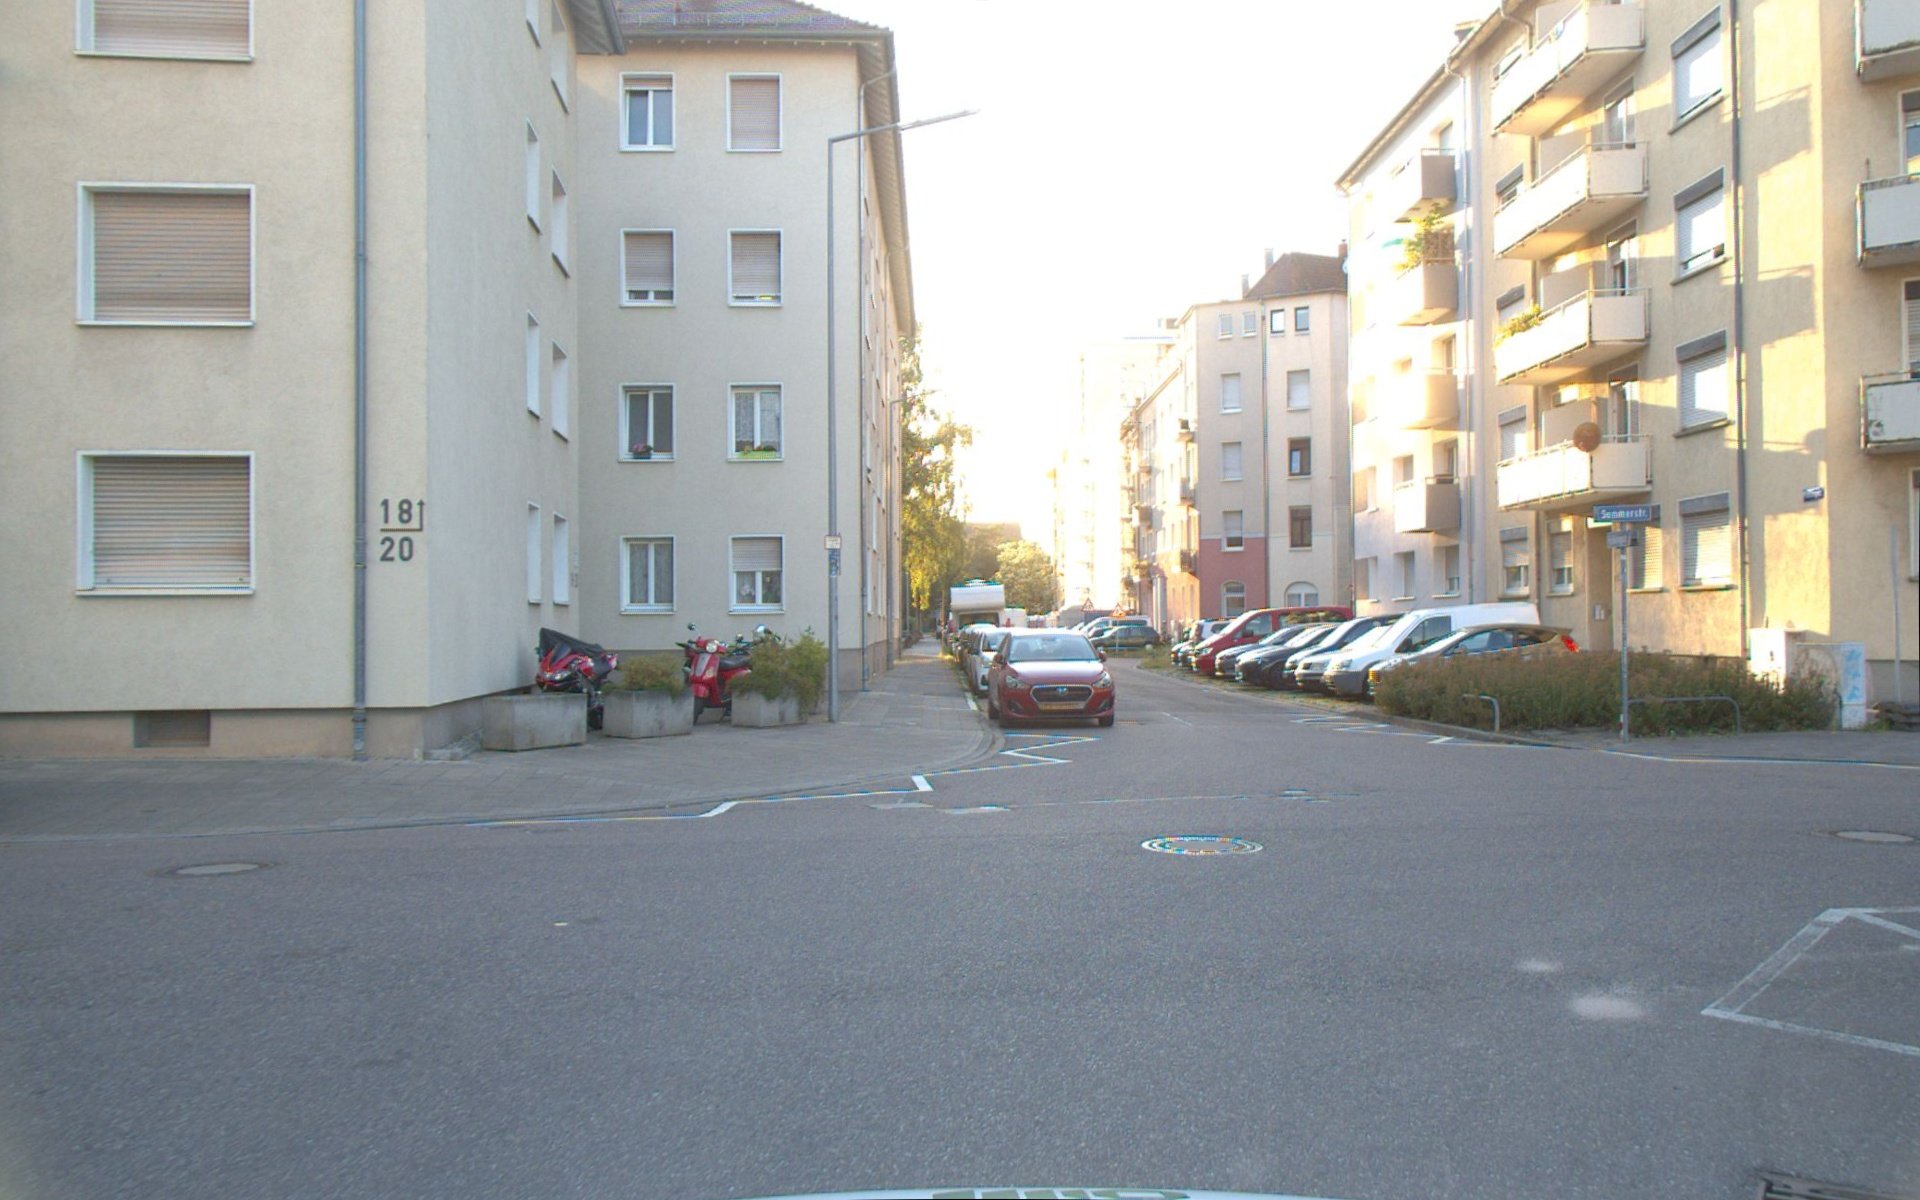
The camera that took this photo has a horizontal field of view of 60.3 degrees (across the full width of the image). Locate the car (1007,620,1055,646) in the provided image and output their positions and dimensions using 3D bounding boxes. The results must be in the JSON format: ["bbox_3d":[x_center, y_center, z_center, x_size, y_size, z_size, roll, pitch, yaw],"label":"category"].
[{"bbox_3d":[7.145,3.287,167.025,4.716,2.450,1.738,-2,-1,-2],"label":"car"}]

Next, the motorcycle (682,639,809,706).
[{"bbox_3d":[-3.688,1.251,28.478,2.078,1.125,0.561,-1,-1,11],"label":"motorcycle"}]

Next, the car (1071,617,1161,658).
[{"bbox_3d":[8.561,2.050,90.904,4.716,2.002,1.738,-2,-1,-2],"label":"car"}]

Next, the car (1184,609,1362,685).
[{"bbox_3d":[8.959,1.352,47.598,4.627,1.943,2.058,-3,-1,-2],"label":"car"}]

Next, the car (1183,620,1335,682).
[{"bbox_3d":[9.078,1.544,50.454,4.237,1.666,1.817,-3,-1,-2],"label":"car"}]

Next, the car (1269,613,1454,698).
[{"bbox_3d":[9.077,1.249,37.590,3.714,1.725,1.654,-3,-1,-1],"label":"car"}]

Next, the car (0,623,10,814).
[{"bbox_3d":[-10.176,1.105,13.278,3.929,1.645,1.879,-1,3,-6],"label":"car"}]

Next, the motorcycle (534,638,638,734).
[{"bbox_3d":[-5.327,1.200,23.663,0.708,1.287,2.082,-1,-1,10],"label":"motorcycle"}]

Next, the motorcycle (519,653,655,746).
[{"bbox_3d":[-4.797,1.262,21.420,0.708,1.098,2.081,-1,-1,20],"label":"motorcycle"}]

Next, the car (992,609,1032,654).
[{"bbox_3d":[3.320,2.009,106.572,2.086,2.765,4.830,-2,-1,-2],"label":"car"}]

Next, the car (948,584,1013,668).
[{"bbox_3d":[0.822,1.129,71.670,2.566,3.326,7.695,-2,-1,0],"label":"car"}]

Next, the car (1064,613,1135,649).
[{"bbox_3d":[8.172,1.815,97.120,3.909,2.049,1.998,-1,-1,-5],"label":"car"}]

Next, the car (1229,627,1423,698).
[{"bbox_3d":[8.722,1.486,39.626,4.221,1.475,1.654,-3,-1,-1],"label":"car"}]

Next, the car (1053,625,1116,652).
[{"bbox_3d":[8.109,2.512,107.803,3.906,1.557,1.658,-2,-1,-2],"label":"car"}]

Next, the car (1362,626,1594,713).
[{"bbox_3d":[9.649,1.286,31.011,3.793,1.518,1.741,-1,-1,-1],"label":"car"}]

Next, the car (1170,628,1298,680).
[{"bbox_3d":[8.741,1.712,52.930,3.735,1.453,1.634,-3,-1,-2],"label":"car"}]

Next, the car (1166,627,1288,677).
[{"bbox_3d":[8.922,1.738,55.453,3.735,1.453,1.634,-3,-1,-2],"label":"car"}]

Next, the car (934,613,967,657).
[{"bbox_3d":[-0.609,2.078,98.862,1.734,2.488,5.142,-2,-1,-2],"label":"car"}]

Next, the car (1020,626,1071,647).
[{"bbox_3d":[6.864,2.912,133.034,3.906,1.557,1.658,-2,-1,-2],"label":"car"}]

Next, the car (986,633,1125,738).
[{"bbox_3d":[1.437,1.303,26.366,1.808,1.499,4.076,-1,-1,-2],"label":"car"}]

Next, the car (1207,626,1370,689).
[{"bbox_3d":[8.912,1.548,45.056,4.061,1.497,1.636,-3,-1,-2],"label":"car"}]

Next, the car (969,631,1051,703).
[{"bbox_3d":[1.091,1.488,37.780,1.583,1.499,3.503,-2,-1,-2],"label":"car"}]

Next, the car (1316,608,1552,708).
[{"bbox_3d":[9.442,1.154,33.168,4.192,1.893,1.741,-1,-2,-1],"label":"car"}]

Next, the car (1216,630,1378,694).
[{"bbox_3d":[8.729,1.602,42.986,3.798,1.441,1.635,-3,-1,-3],"label":"car"}]

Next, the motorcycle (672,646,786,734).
[{"bbox_3d":[-3.306,1.273,23.845,0.674,1.181,2.033,-1,-1,23],"label":"motorcycle"}]

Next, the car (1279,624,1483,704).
[{"bbox_3d":[8.919,1.346,35.211,3.875,1.549,1.705,-1,-1,-1],"label":"car"}]

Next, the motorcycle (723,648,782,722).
[{"bbox_3d":[-3.288,1.329,26.339,0.668,1.098,2.034,-1,-1,0],"label":"motorcycle"}]

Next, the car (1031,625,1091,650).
[{"bbox_3d":[6.814,2.515,112.043,3.906,1.557,1.658,-2,-1,-2],"label":"car"}]

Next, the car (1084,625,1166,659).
[{"bbox_3d":[8.345,2.107,83.847,3.906,1.557,1.658,-2,-1,-2],"label":"car"}]
